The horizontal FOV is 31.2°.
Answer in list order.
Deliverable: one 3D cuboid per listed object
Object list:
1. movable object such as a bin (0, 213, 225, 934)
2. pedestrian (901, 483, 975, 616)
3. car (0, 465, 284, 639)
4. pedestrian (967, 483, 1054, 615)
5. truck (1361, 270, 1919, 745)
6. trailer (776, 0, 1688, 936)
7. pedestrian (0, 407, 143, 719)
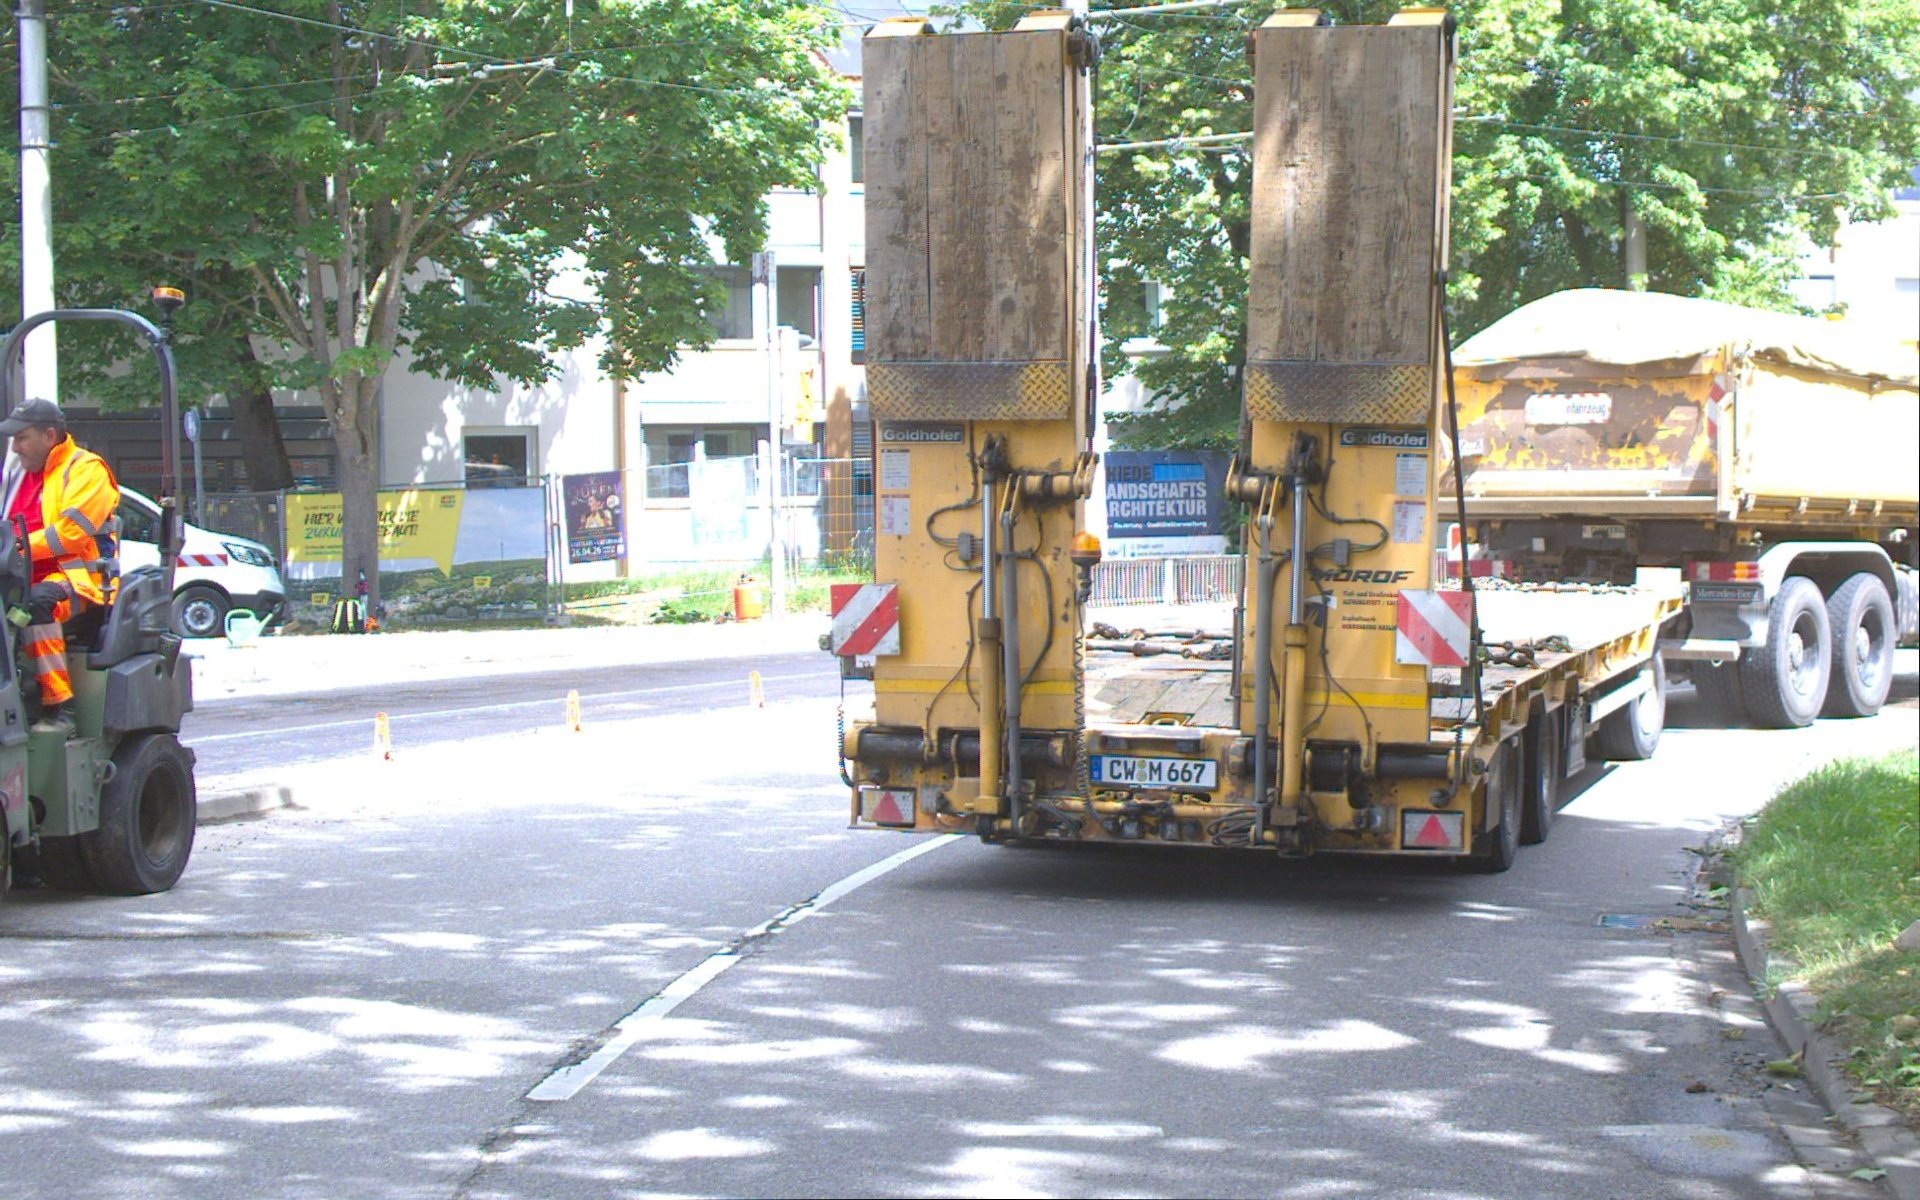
[{"bbox_3d":[-3.934,-0.119,13.177,1.317,2.584,2.361,0,2,12],"label":"movable object such as a bin"},{"bbox_3d":[-0.261,-0.602,40.668,0.760,1.535,0.798,-1,1,-7],"label":"pedestrian"},{"bbox_3d":[-10.494,-0.513,39.315,5.232,1.881,2.000,-2,0,-15],"label":"car"},{"bbox_3d":[0.596,-0.613,40.842,0.905,1.527,0.841,-1,1,-7],"label":"pedestrian"},{"bbox_3d":[6.239,-0.774,26.863,2.923,3.156,7.665,2,3,34],"label":"truck"},{"bbox_3d":[2.114,-0.707,18.499,2.825,3.511,11.045,2,2,15],"label":"trailer"},{"bbox_3d":[-3.662,-0.149,13.735,0.549,1.212,0.617,-1,1,10],"label":"pedestrian"}]
